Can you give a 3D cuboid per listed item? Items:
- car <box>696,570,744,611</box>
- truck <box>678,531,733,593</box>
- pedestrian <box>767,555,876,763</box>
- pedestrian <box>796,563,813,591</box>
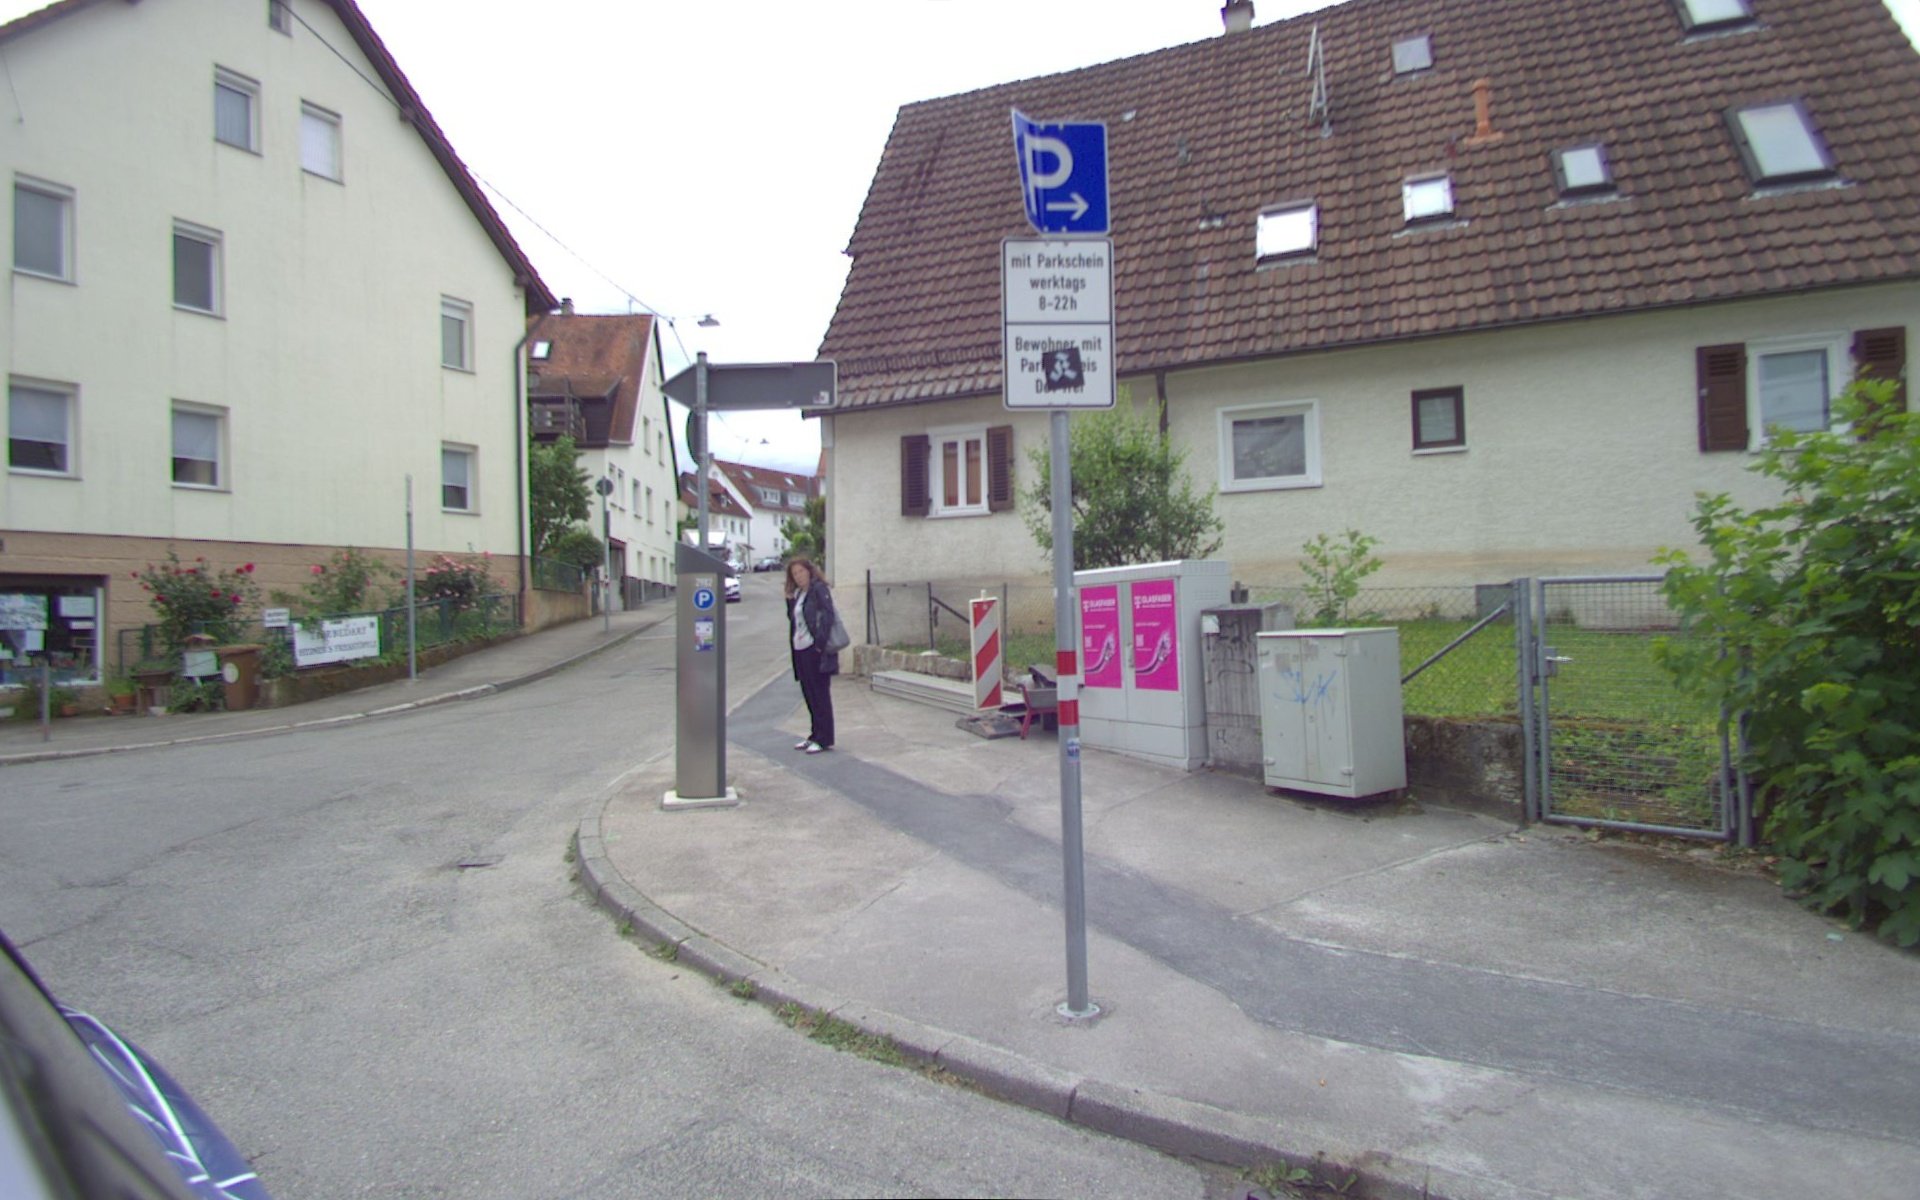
[{"bbox_3d":[-9.989,-0.450,42.197,1.771,1.456,4.309,-3,3,-13],"label":"car"},{"bbox_3d":[-16.468,-2.372,65.096,2.639,3.623,8.131,-3,2,-18],"label":"truck"},{"bbox_3d":[-1.192,0.478,8.735,0.639,1.697,0.605,-3,2,-44],"label":"pedestrian"},{"bbox_3d":[-9.683,-1.442,62.852,0.828,1.689,0.980,-4,3,-17],"label":"pedestrian"}]
